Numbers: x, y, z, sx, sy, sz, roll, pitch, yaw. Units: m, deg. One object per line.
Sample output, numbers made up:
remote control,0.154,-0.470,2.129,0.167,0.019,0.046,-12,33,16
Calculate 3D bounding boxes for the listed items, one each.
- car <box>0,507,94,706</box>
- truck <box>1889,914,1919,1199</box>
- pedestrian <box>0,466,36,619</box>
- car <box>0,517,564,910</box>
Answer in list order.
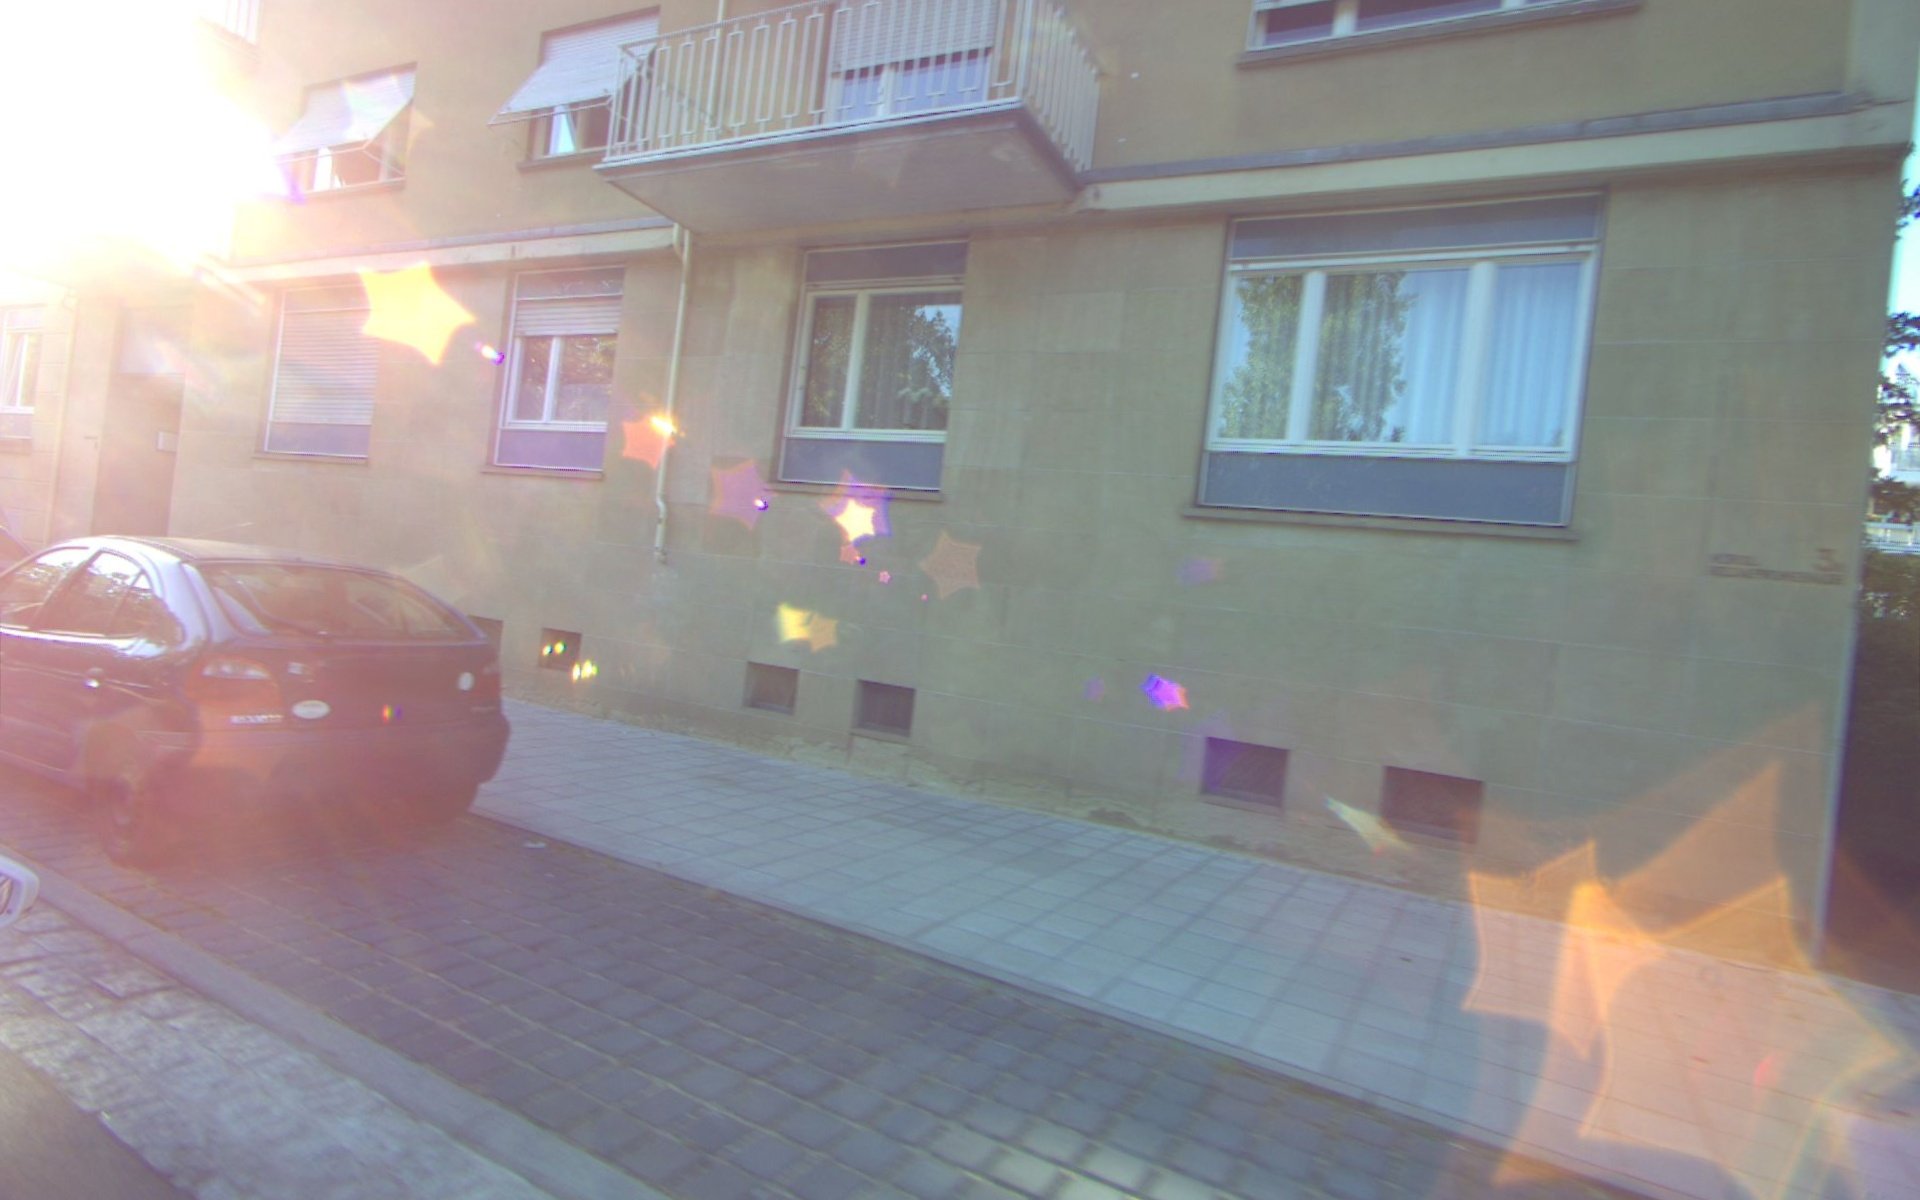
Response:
car,-8.954,-0.146,8.058,4.275,1.438,1.704,6,1,30
truck,5.152,0.919,0.246,6.760,2.595,2.132,6,-1,30
pedestrian,-11.943,-0.724,12.226,0.547,1.851,0.731,7,-1,-8
car,-4.350,0.374,5.666,3.966,1.438,1.705,6,1,28
